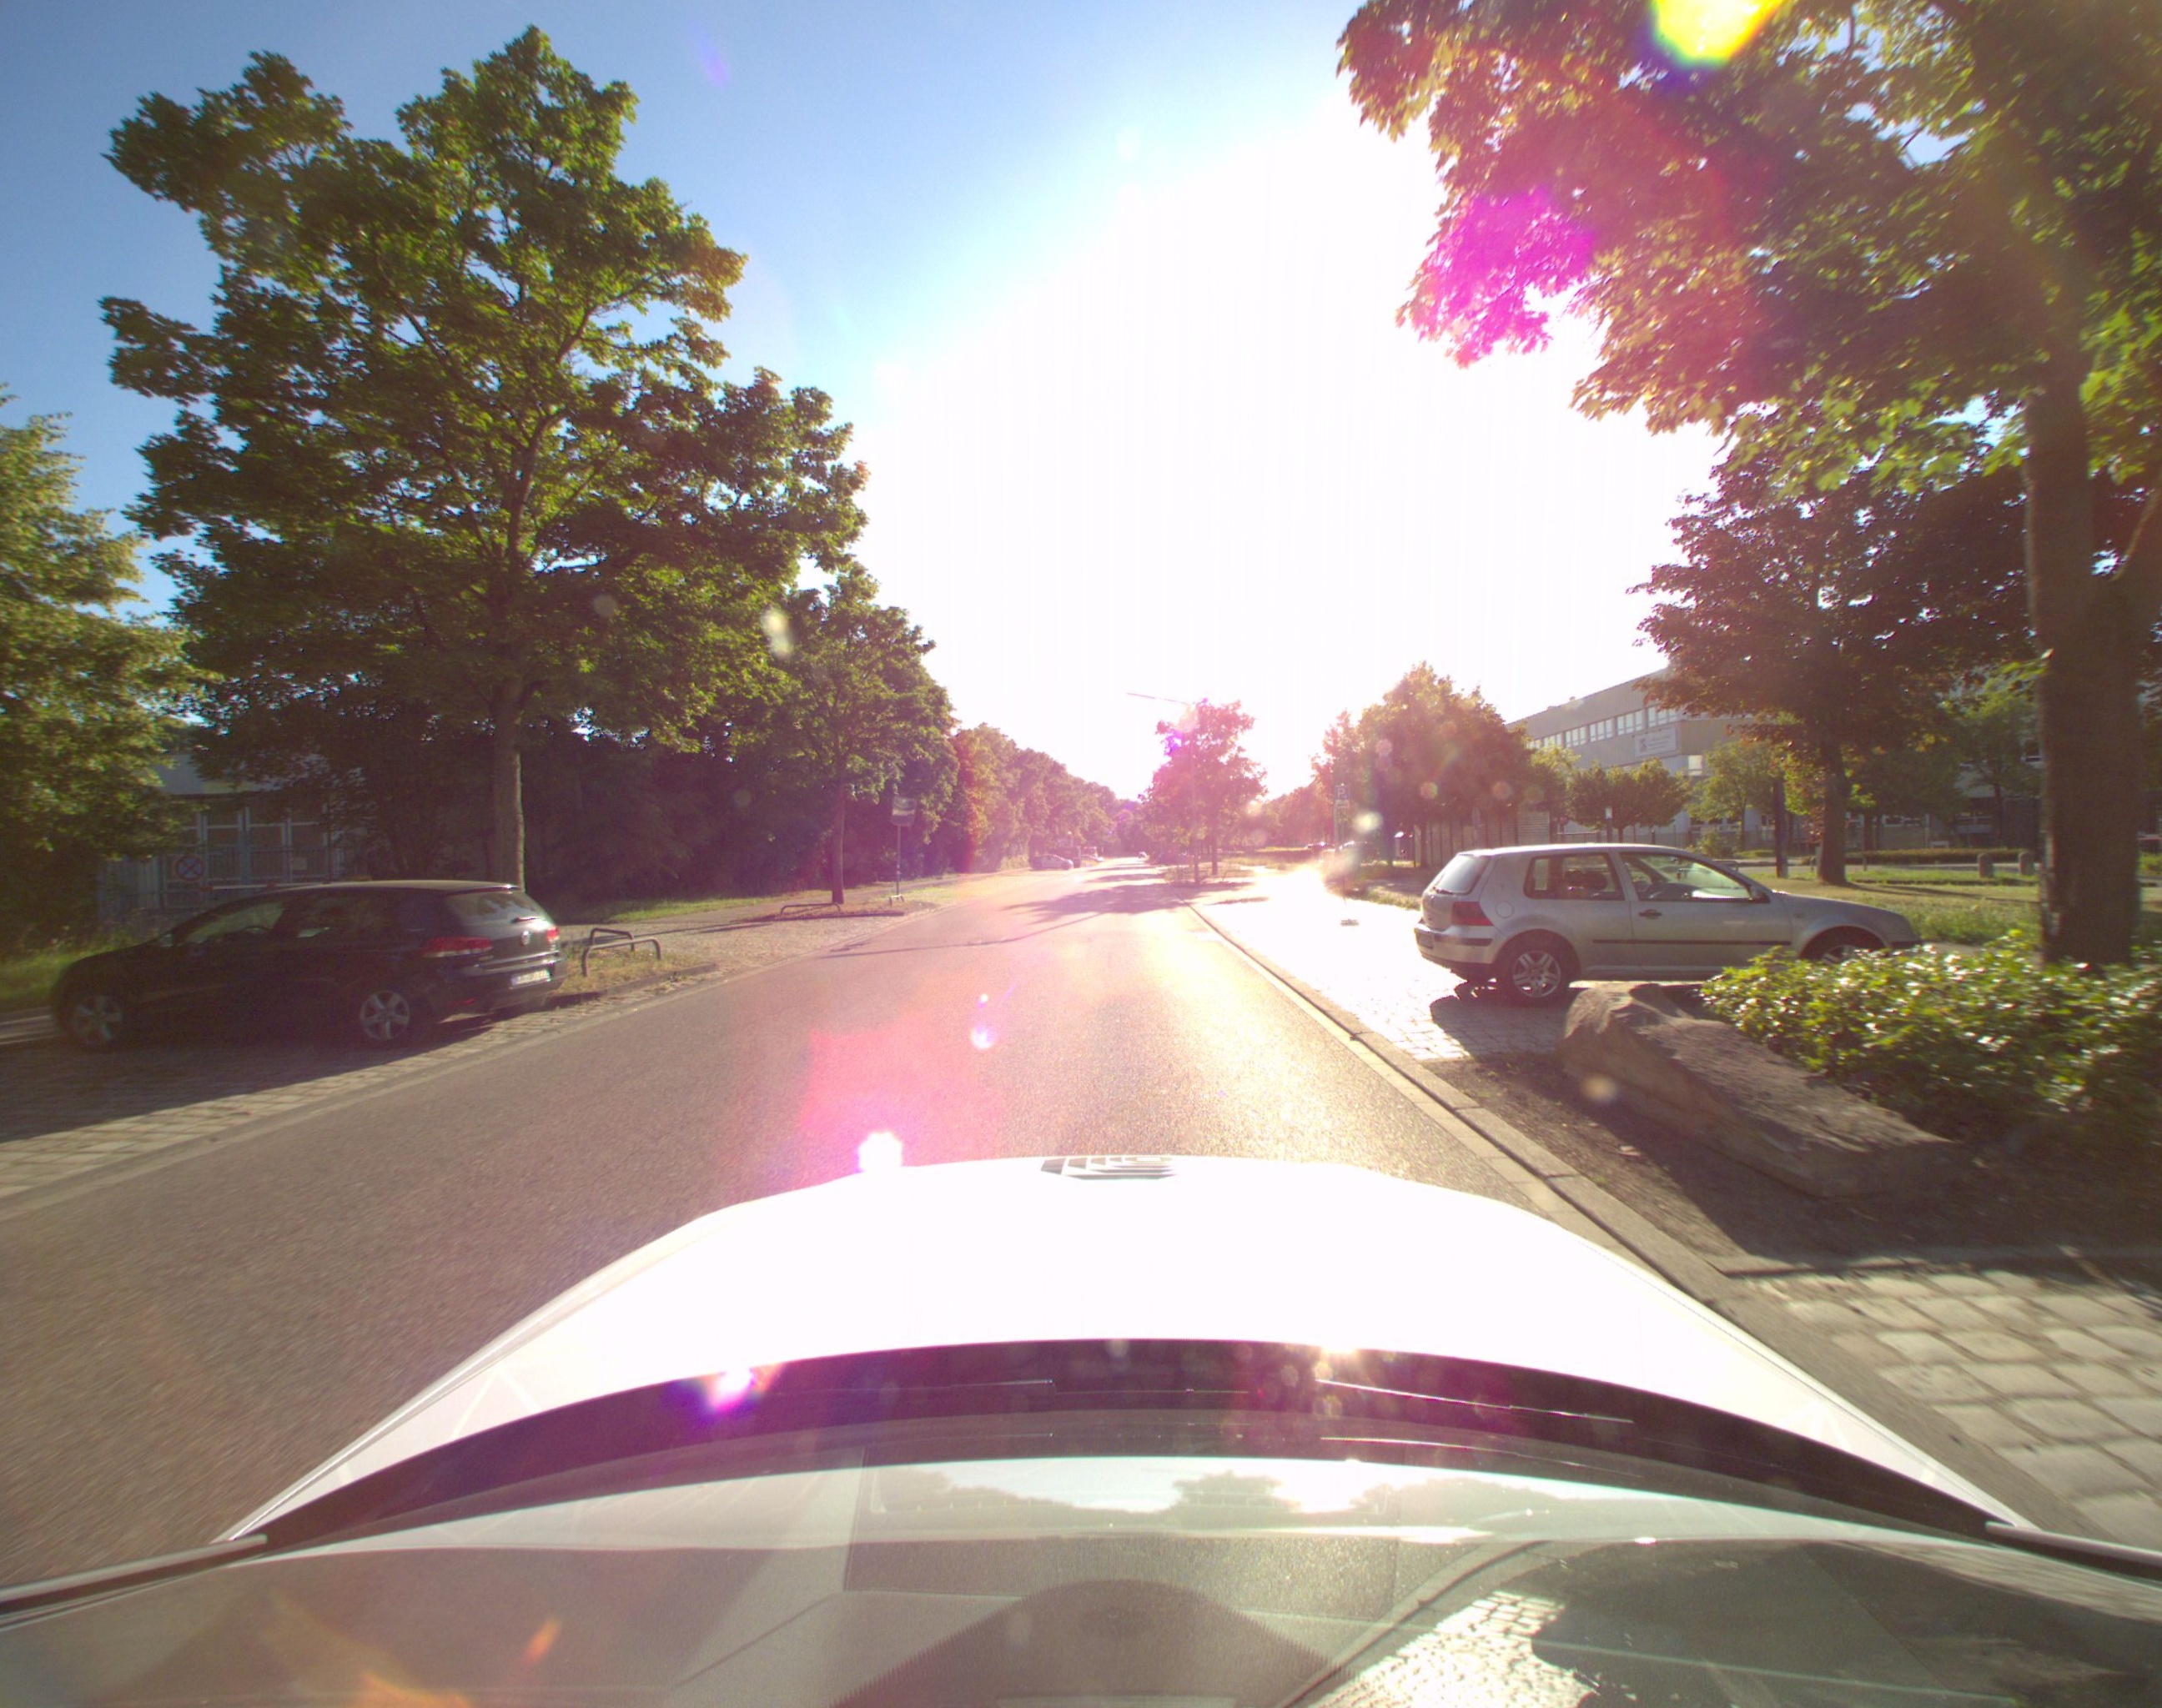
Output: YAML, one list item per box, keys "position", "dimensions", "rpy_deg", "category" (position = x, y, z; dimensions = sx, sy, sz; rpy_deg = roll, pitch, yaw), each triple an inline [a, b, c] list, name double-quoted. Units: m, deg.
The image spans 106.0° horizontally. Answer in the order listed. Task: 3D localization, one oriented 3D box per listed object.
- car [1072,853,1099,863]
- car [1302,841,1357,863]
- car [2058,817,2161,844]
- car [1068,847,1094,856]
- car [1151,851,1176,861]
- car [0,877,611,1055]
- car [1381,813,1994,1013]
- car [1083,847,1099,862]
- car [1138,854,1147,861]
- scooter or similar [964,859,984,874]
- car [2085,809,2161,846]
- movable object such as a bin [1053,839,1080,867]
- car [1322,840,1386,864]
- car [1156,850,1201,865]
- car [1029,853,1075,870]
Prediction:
- position: [0.782, 0.598, 134.406]
  dimensions: [4.348, 1.479, 1.998]
  rpy_deg: [-2, 0, -3]
  category: "car"
- position: [21.966, -0.187, 72.153]
  dimensions: [4.337, 1.705, 2.003]
  rpy_deg: [-2, 0, 5]
  category: "car"
- position: [58.391, -1.326, 46.052]
  dimensions: [1.857, 1.398, 3.789]
  rpy_deg: [-2, 0, 3]
  category: "car"
- position: [0.022, -0.361, 136.925]
  dimensions: [4.348, 1.479, 1.998]
  rpy_deg: [0, 0, -3]
  category: "car"
- position: [14.763, 0.326, 145.395]
  dimensions: [4.340, 1.729, 2.002]
  rpy_deg: [-2, 0, 3]
  category: "car"
- position: [-7.432, 1.002, 8.084]
  dimensions: [4.343, 1.479, 2.000]
  rpy_deg: [0, 0, 0]
  category: "car"
- position: [5.436, 0.552, 7.995]
  dimensions: [4.331, 1.479, 2.006]
  rpy_deg: [-4, -1, 10]
  category: "car"
- position: [1.757, 0.088, 143.727]
  dimensions: [2.511, 2.386, 4.368]
  rpy_deg: [-2, 0, -3]
  category: "car"
- position: [16.231, 0.935, 215.061]
  dimensions: [1.986, 1.903, 4.002]
  rpy_deg: [-2, 0, 2]
  category: "car"
- position: [-8.787, 1.014, 67.046]
  dimensions: [0.570, 1.145, 1.594]
  rpy_deg: [-2, -1, 43]
  category: "scooter or similar"
- position: [46.015, -1.130, 34.794]
  dimensions: [1.610, 1.530, 3.830]
  rpy_deg: [-2, 0, 3]
  category: "car"
- position: [-1.622, -0.109, 93.628]
  dimensions: [2.829, 3.068, 4.926]
  rpy_deg: [-2, 0, 0]
  category: "movable object such as a bin"
- position: [21.582, -0.178, 64.589]
  dimensions: [4.411, 1.706, 2.061]
  rpy_deg: [-2, 0, 2]
  category: "car"
- position: [10.721, 0.369, 90.163]
  dimensions: [4.819, 1.479, 2.003]
  rpy_deg: [-2, 0, 4]
  category: "car"
- position: [-2.911, 0.709, 81.563]
  dimensions: [4.338, 1.547, 2.003]
  rpy_deg: [-2, 0, 4]
  category: "car"
